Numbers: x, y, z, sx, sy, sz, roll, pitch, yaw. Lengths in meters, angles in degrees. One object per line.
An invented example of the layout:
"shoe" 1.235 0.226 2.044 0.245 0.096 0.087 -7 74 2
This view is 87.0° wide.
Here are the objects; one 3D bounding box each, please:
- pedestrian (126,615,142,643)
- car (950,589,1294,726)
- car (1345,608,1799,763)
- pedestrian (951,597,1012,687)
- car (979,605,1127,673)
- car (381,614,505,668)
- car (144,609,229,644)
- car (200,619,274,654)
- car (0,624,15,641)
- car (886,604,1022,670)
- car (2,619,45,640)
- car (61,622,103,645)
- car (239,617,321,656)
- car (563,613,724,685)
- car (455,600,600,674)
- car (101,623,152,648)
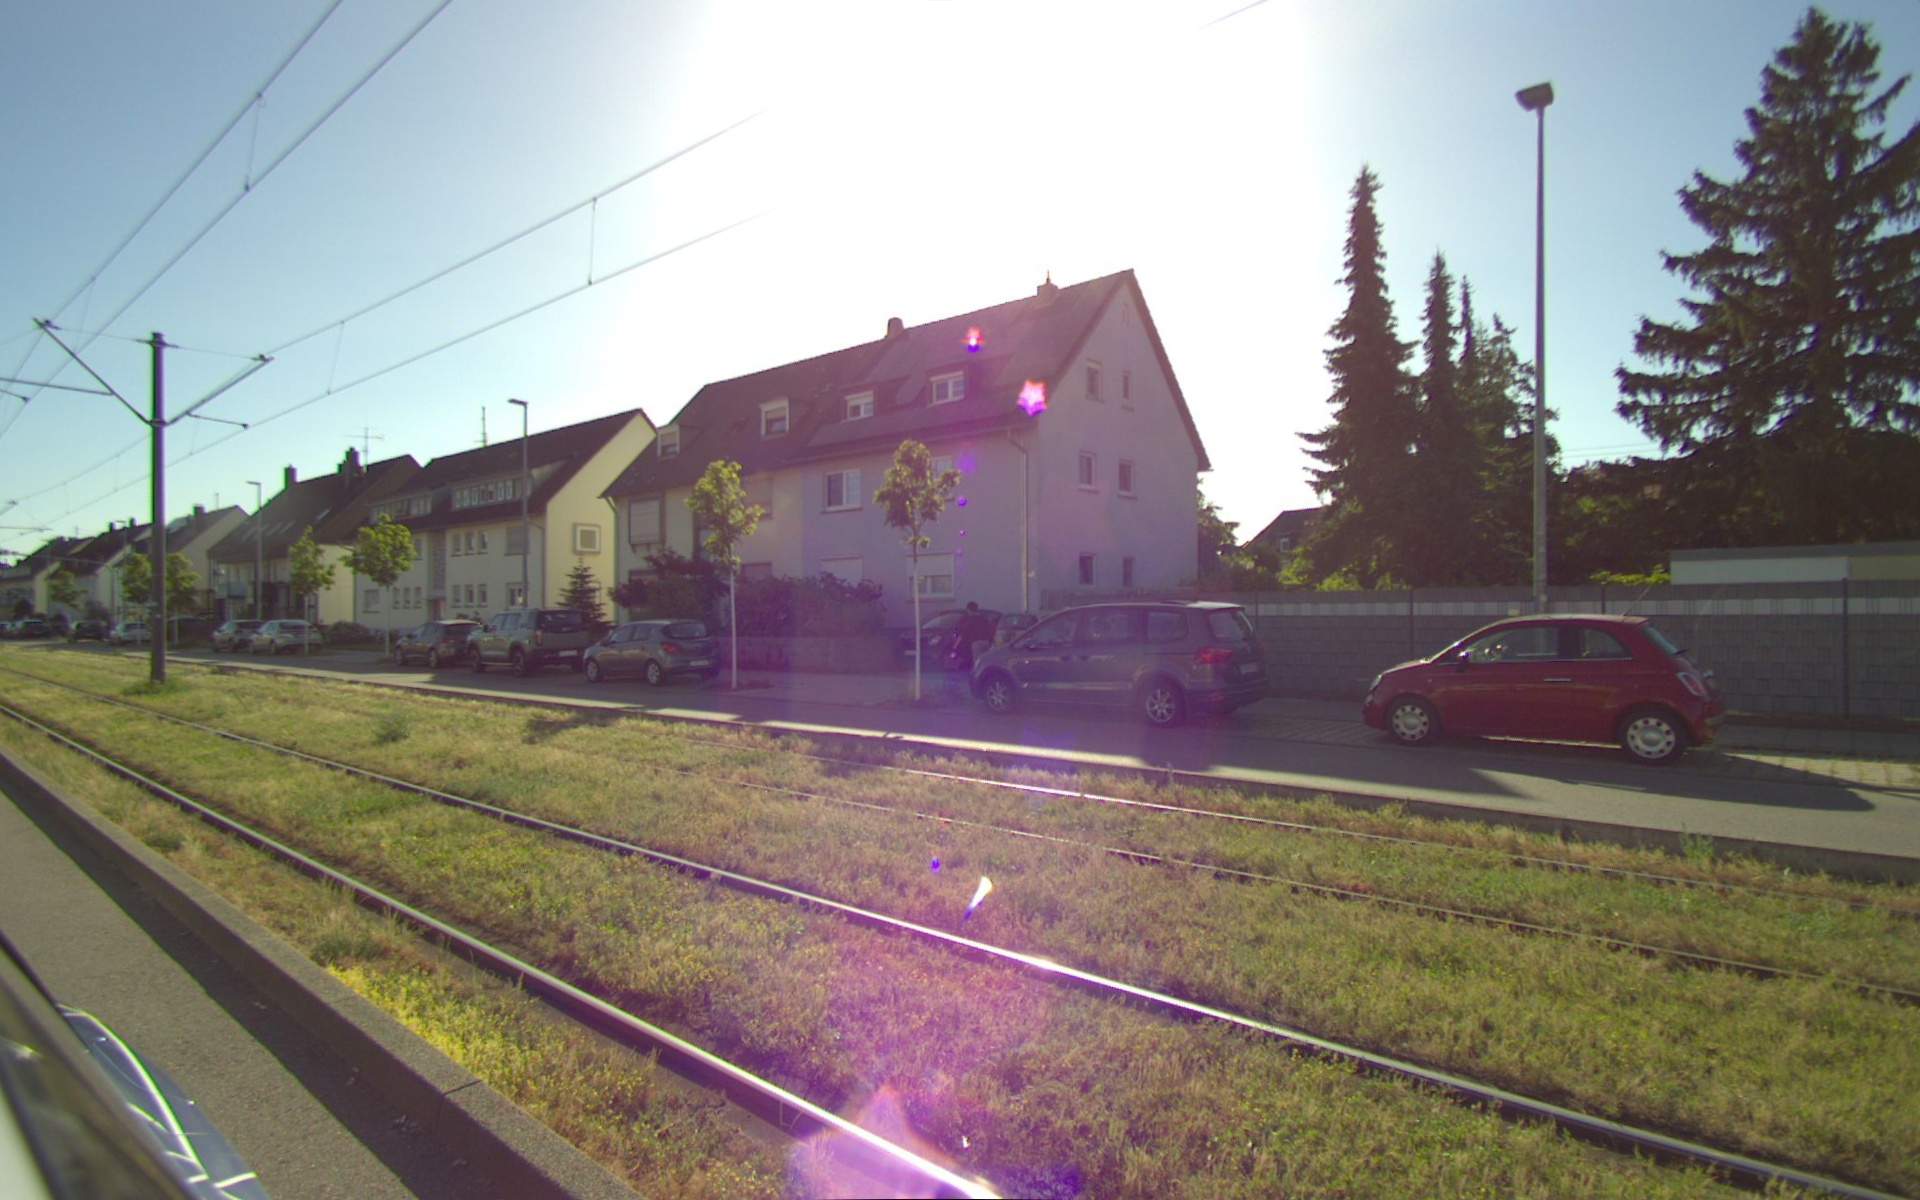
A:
"pedestrian" -54.756 1.905 67.108 0.676 1.829 0.611 -1 0 32
"car" 2.250 0.749 15.061 4.844 1.697 1.800 -1 1 42
"car" 6.634 0.825 11.245 4.077 1.415 1.677 -1 -2 42
"pedestrian" 0.414 0.782 19.284 0.919 1.652 0.689 -1 1 39
"car" 2.274 0.872 24.169 1.705 1.485 3.573 -1 -1 43
"car" -16.415 1.235 32.035 4.554 1.552 1.940 -1 1 41
"car" -54.215 1.812 70.975 1.786 2.096 4.415 -1 3 41
"car" -33.370 1.656 46.675 4.310 1.484 1.672 -1 1 39
"car" -85.517 2.868 89.980 4.396 1.466 1.637 -1 1 39
"car" -0.091 0.899 25.856 1.688 1.472 3.600 -1 1 36
"car" -77.273 2.422 83.503 4.853 1.572 1.902 -1 1 39
"car" -60.701 2.295 69.942 4.083 1.523 1.602 -1 0 41
"car" -28.668 1.504 42.627 4.438 1.486 1.672 -1 1 39
"car" -7.498 1.090 23.809 4.046 1.502 1.660 -1 1 39
"car" -11.954 0.965 27.783 4.839 1.836 1.727 -1 1 42
"car" -50.840 2.145 61.737 4.099 1.447 1.641 -1 -1 39
